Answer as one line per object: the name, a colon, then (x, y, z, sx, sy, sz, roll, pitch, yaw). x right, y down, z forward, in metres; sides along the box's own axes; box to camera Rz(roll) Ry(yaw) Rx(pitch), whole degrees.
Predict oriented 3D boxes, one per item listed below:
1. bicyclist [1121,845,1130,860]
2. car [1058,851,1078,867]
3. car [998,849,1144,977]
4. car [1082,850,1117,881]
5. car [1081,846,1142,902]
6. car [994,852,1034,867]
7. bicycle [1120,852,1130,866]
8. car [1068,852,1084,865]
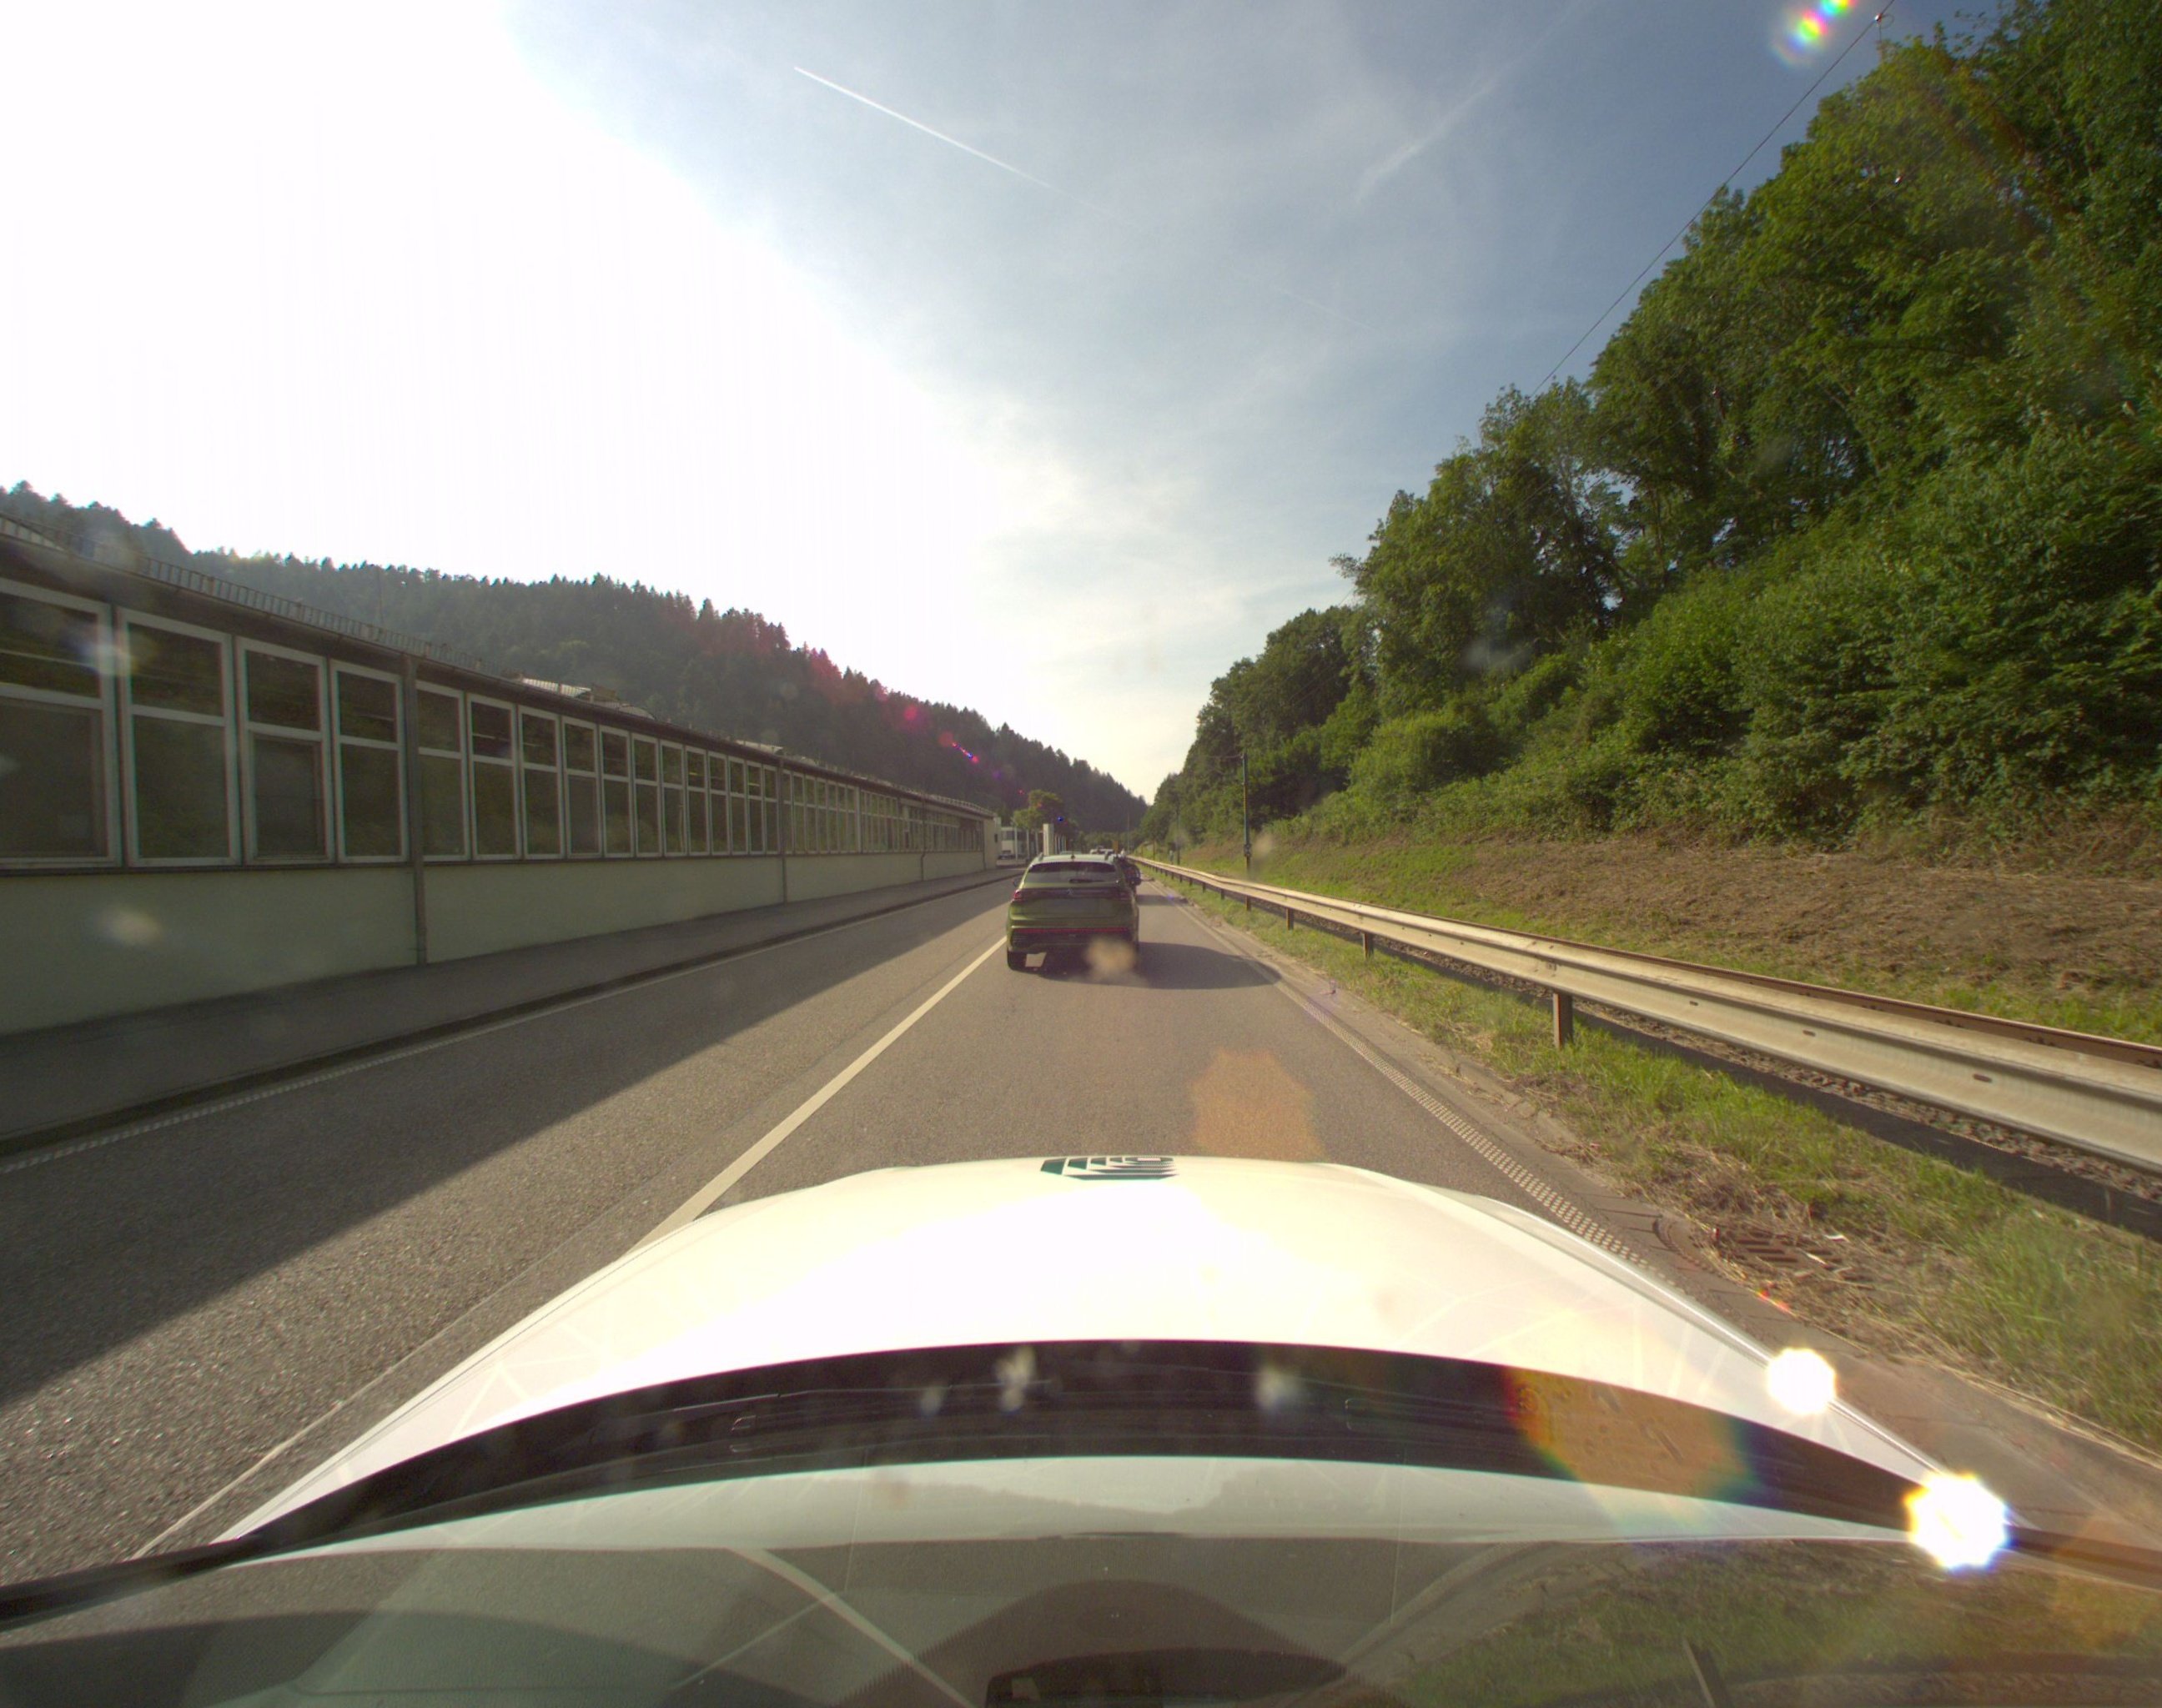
bicyclist: (4.176, -0.125, 77.112, 0.779, 1.412, 0.675, -2, 0, -1)
car: (-1.246, 0.454, 77.531, 1.713, 1.514, 4.200, 0, 0, 2)
car: (-0.085, 0.706, 11.846, 1.733, 1.508, 4.001, -1, 0, 1)
car: (0.978, 0.578, 43.832, 1.733, 1.602, 4.001, -1, 0, 1)
car: (0.911, 0.562, 25.623, 1.733, 1.602, 4.001, -1, 0, 1)
car: (-7.299, 0.596, 89.312, 1.865, 1.591, 4.201, -1, 0, 43)
bicycle: (4.183, 0.493, 77.210, 0.809, 1.250, 2.122, -2, 0, 0)
car: (-0.564, 0.529, 95.374, 1.767, 1.490, 4.053, 0, 0, 1)
